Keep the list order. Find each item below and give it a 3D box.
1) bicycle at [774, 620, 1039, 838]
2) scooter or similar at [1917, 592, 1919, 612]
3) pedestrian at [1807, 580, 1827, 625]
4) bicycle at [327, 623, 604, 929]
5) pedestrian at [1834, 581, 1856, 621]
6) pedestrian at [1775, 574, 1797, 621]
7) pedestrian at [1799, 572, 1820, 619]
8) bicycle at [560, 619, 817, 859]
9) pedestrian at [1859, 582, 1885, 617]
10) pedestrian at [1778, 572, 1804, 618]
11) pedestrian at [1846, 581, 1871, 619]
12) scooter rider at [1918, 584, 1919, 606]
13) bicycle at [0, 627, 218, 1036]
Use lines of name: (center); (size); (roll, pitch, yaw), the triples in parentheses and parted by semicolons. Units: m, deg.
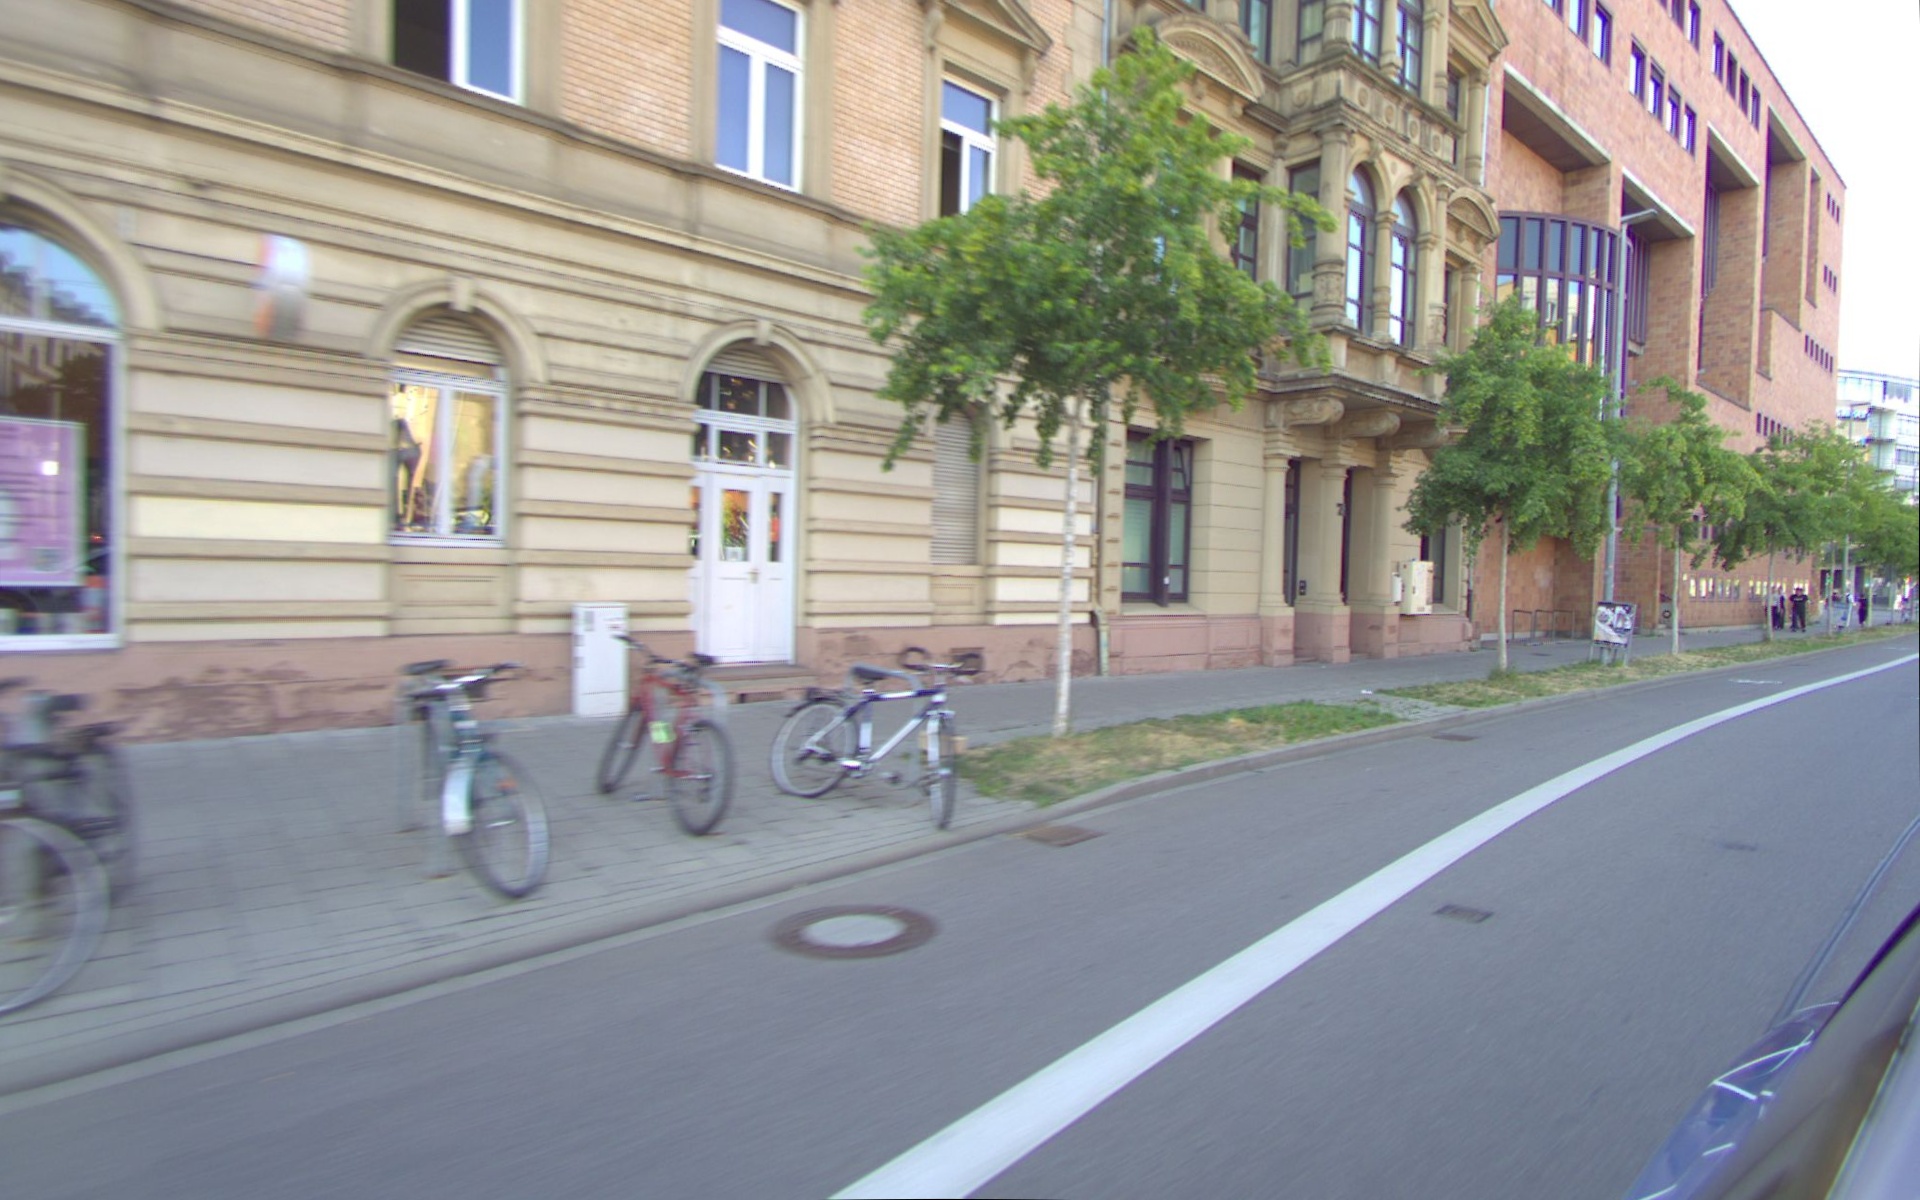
bicycle: (-0.414, 0.770, 6.755); (1.827, 1.077, 0.653); (7, 4, 45)
scooter or similar: (66.503, 0.150, 69.885); (0.527, 1.334, 1.116); (3, 2, 41)
pedestrian: (34.075, 0.084, 40.233); (0.536, 1.778, 0.685); (2, 2, 40)
bicycle: (-2.533, 0.753, 5.067); (1.827, 1.077, 0.653); (7, 4, 45)
pedestrian: (39.991, 0.037, 45.740); (0.527, 1.778, 0.422); (1, 1, -4)
pedestrian: (31.837, -0.091, 39.008); (0.534, 1.778, 0.417); (2, 2, 33)
pedestrian: (32.491, -0.163, 38.716); (0.535, 1.778, 0.459); (2, 2, 36)
bicycle: (-1.722, 0.754, 6.217); (1.827, 1.077, 0.653); (7, 4, 45)
pedestrian: (42.448, -0.028, 47.098); (0.508, 1.625, 0.704); (1, 2, 5)
pedestrian: (32.868, -0.188, 40.016); (0.681, 1.778, 0.539); (0, 2, -31)
pedestrian: (41.774, 0.008, 47.034); (0.564, 1.734, 0.639); (1, 2, 11)
scooter rider: (66.439, -0.350, 69.774); (0.505, 1.479, 0.711); (3, 2, 40)
bicycle: (-3.478, 0.748, 3.941); (1.827, 1.077, 0.653); (7, 4, 45)
